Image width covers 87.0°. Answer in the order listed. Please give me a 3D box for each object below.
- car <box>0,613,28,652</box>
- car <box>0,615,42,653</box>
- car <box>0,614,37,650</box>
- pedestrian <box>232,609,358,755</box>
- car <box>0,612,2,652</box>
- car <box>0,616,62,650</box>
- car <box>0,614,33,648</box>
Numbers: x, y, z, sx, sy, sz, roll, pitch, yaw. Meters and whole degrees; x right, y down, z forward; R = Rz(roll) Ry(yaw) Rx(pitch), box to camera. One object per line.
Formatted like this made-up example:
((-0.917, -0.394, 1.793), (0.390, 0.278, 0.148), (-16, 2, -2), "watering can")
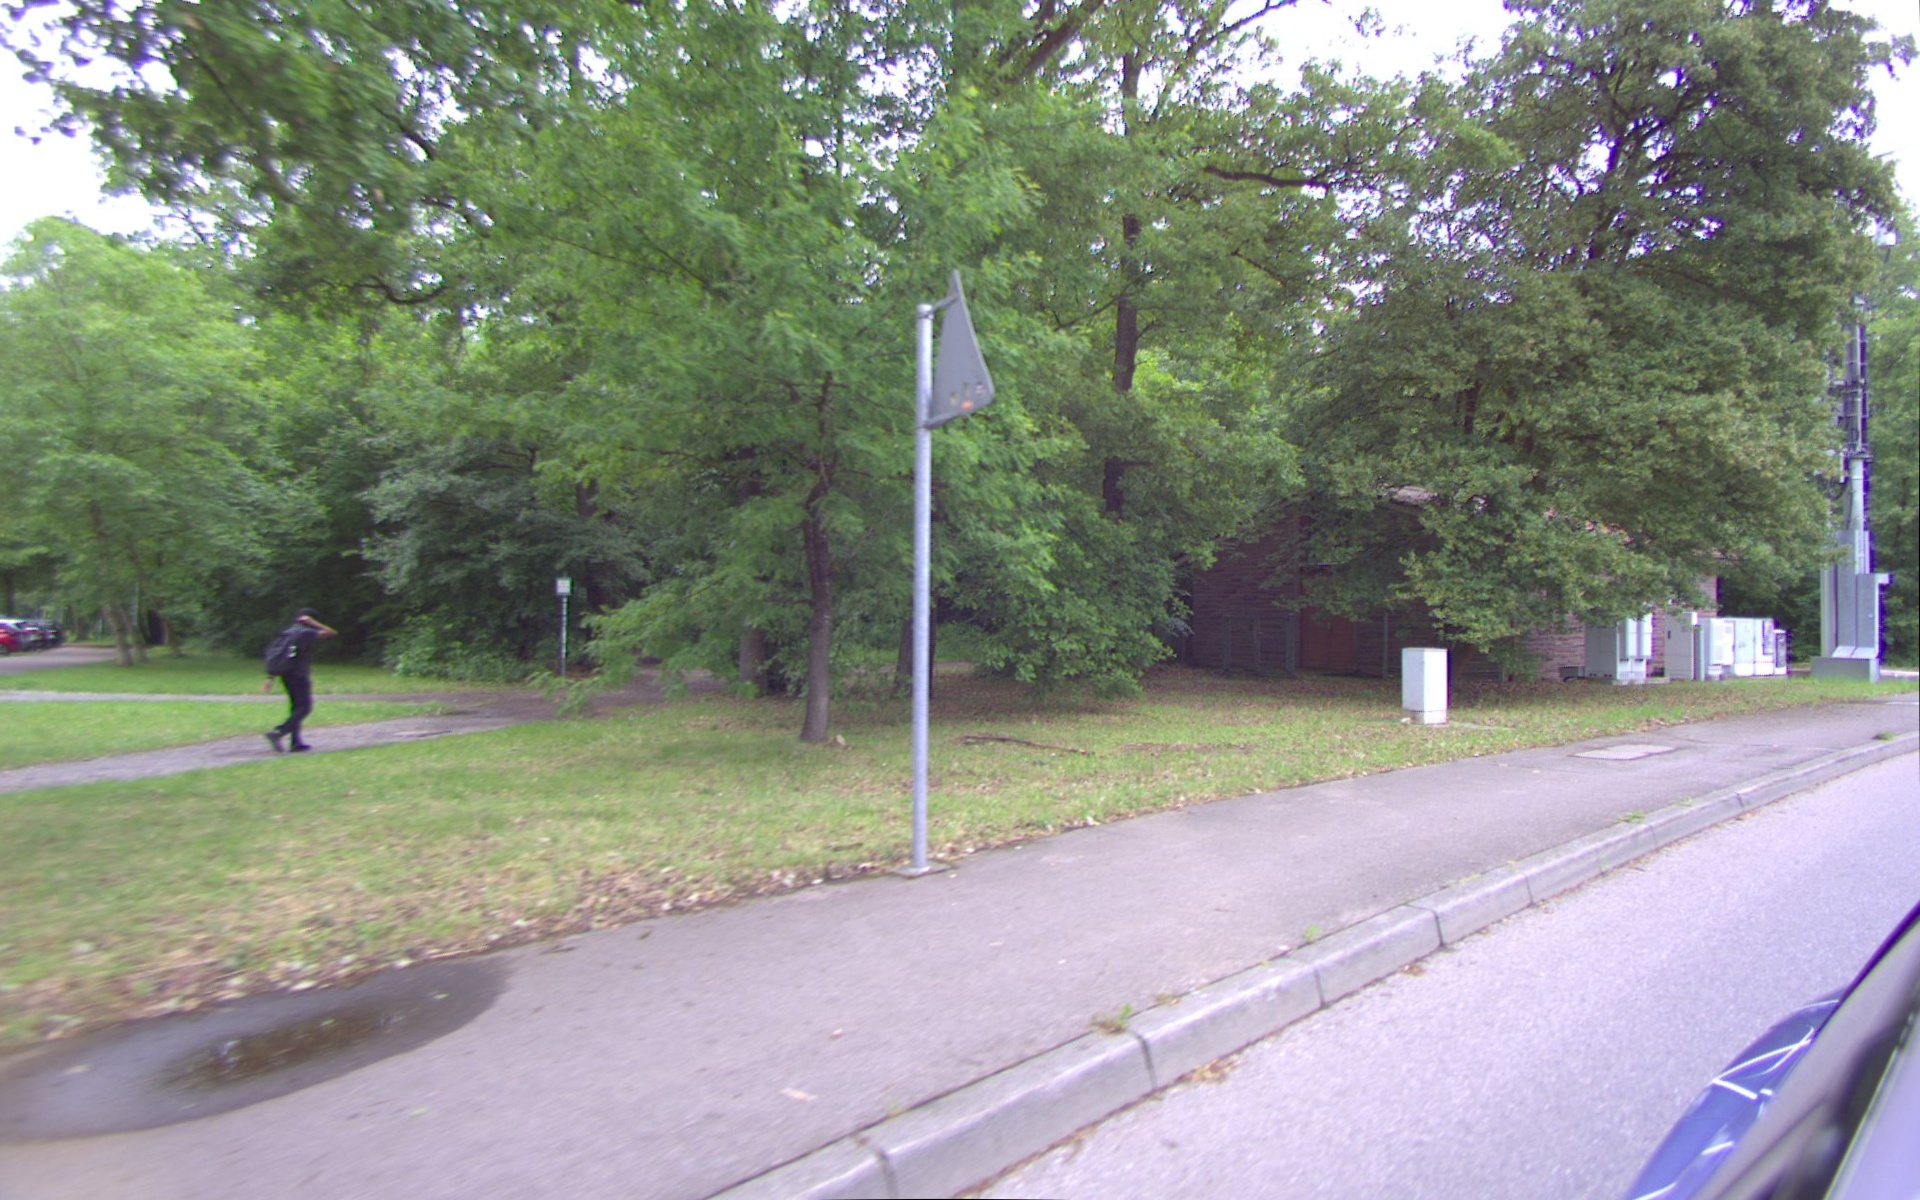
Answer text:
((-37.356, 1.211, 37.607), (3.697, 1.446, 1.658), (0, -1, -31), "car")
((-43.530, 1.499, 44.655), (4.379, 1.672, 1.997), (0, -1, -40), "car")
((-40.343, 1.325, 41.267), (3.861, 1.446, 1.656), (0, -1, -38), "car")
((-8.011, 0.944, 12.208), (0.827, 1.672, 1.024), (-1, -2, 32), "pedestrian")
((-35.883, 1.159, 34.999), (3.697, 1.446, 1.758), (0, -1, -31), "car")
((-47.571, 1.640, 50.374), (4.177, 1.672, 1.997), (0, -1, -40), "car")
((-41.915, 1.331, 42.906), (3.767, 1.446, 1.654), (0, -1, -42), "car")
